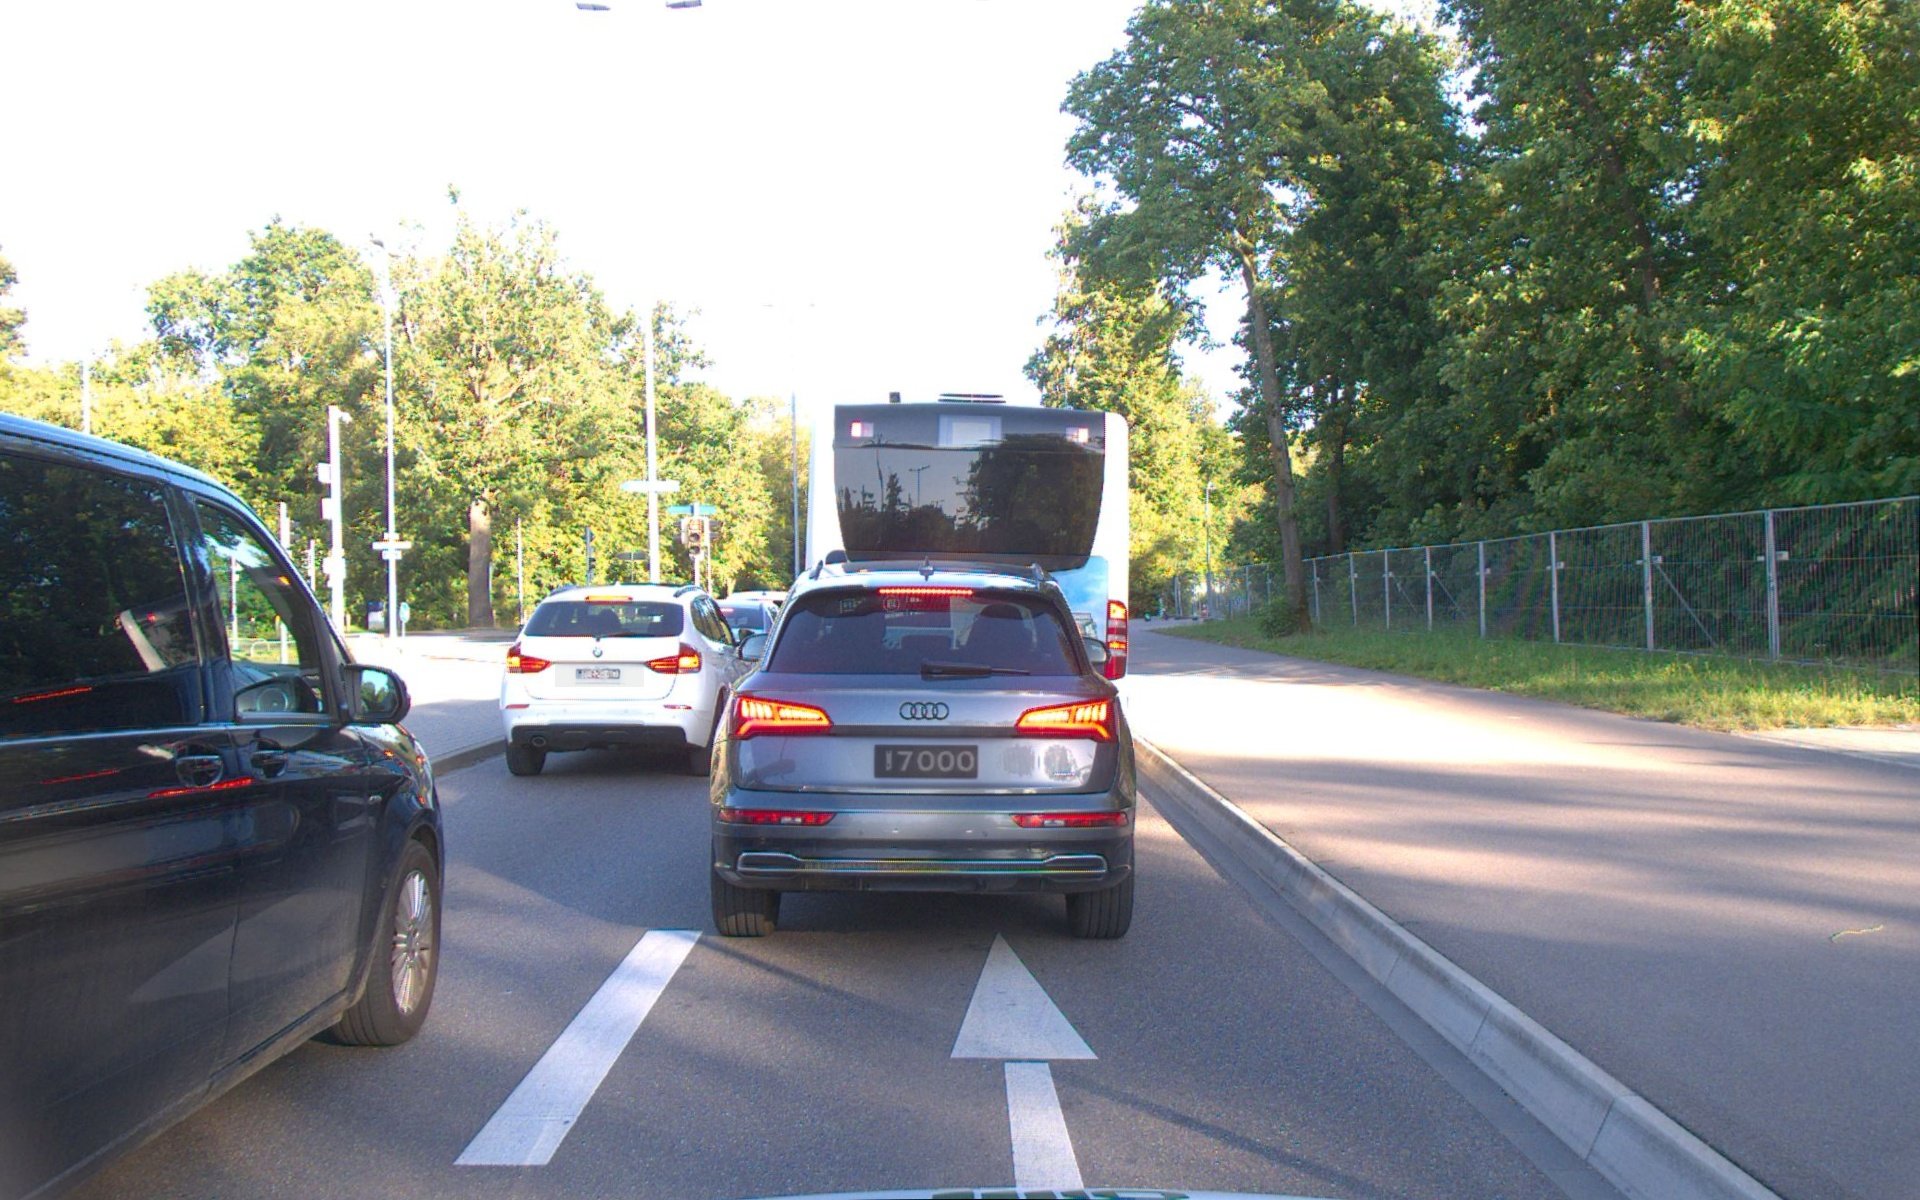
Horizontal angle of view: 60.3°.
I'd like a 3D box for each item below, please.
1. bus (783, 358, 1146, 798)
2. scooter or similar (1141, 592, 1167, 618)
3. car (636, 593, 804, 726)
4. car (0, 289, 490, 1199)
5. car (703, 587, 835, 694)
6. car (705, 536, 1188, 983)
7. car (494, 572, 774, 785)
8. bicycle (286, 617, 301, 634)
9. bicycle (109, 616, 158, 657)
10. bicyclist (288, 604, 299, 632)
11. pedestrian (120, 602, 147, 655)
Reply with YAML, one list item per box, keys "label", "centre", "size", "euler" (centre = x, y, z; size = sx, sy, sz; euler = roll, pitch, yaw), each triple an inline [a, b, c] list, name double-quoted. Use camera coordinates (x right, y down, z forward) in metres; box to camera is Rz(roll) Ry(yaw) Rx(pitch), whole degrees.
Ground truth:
- label: "bus"
  centre: [0.057, -0.201, 15.142]
  size: [2.623, 3.196, 5.882]
  euler: [1, 1, 0]
- label: "scooter or similar"
  centre: [9.149, 0.242, 78.163]
  size: [1.158, 1.195, 0.659]
  euler: [1, 0, 10]
- label: "car"
  centre: [-2.972, 0.687, 21.286]
  size: [1.749, 1.469, 4.275]
  euler: [1, 1, -3]
- label: "car"
  centre: [-2.597, 0.399, 3.615]
  size: [1.869, 1.888, 4.871]
  euler: [1, 0, -2]
- label: "car"
  centre: [-3.110, 0.607, 27.582]
  size: [1.771, 1.599, 4.000]
  euler: [1, 1, -1]
- label: "car"
  centre: [-0.078, 0.589, 8.360]
  size: [1.830, 1.693, 4.000]
  euler: [1, 1, -1]
- label: "car"
  centre: [-2.749, 0.628, 14.920]
  size: [1.683, 1.608, 4.433]
  euler: [1, -1, -1]
- label: "bicycle"
  centre: [-23.533, 0.887, 58.399]
  size: [0.261, 0.592, 0.838]
  euler: [1, 0, -6]
- label: "bicycle"
  centre: [-24.750, 1.083, 49.567]
  size: [0.458, 1.198, 2.003]
  euler: [1, 0, -1]
- label: "bicyclist"
  centre: [-23.534, 0.638, 58.407]
  size: [0.268, 0.979, 0.240]
  euler: [1, -1, -6]
- label: "pedestrian"
  centre: [-24.769, 0.846, 49.572]
  size: [0.472, 1.589, 0.648]
  euler: [1, -1, -1]
